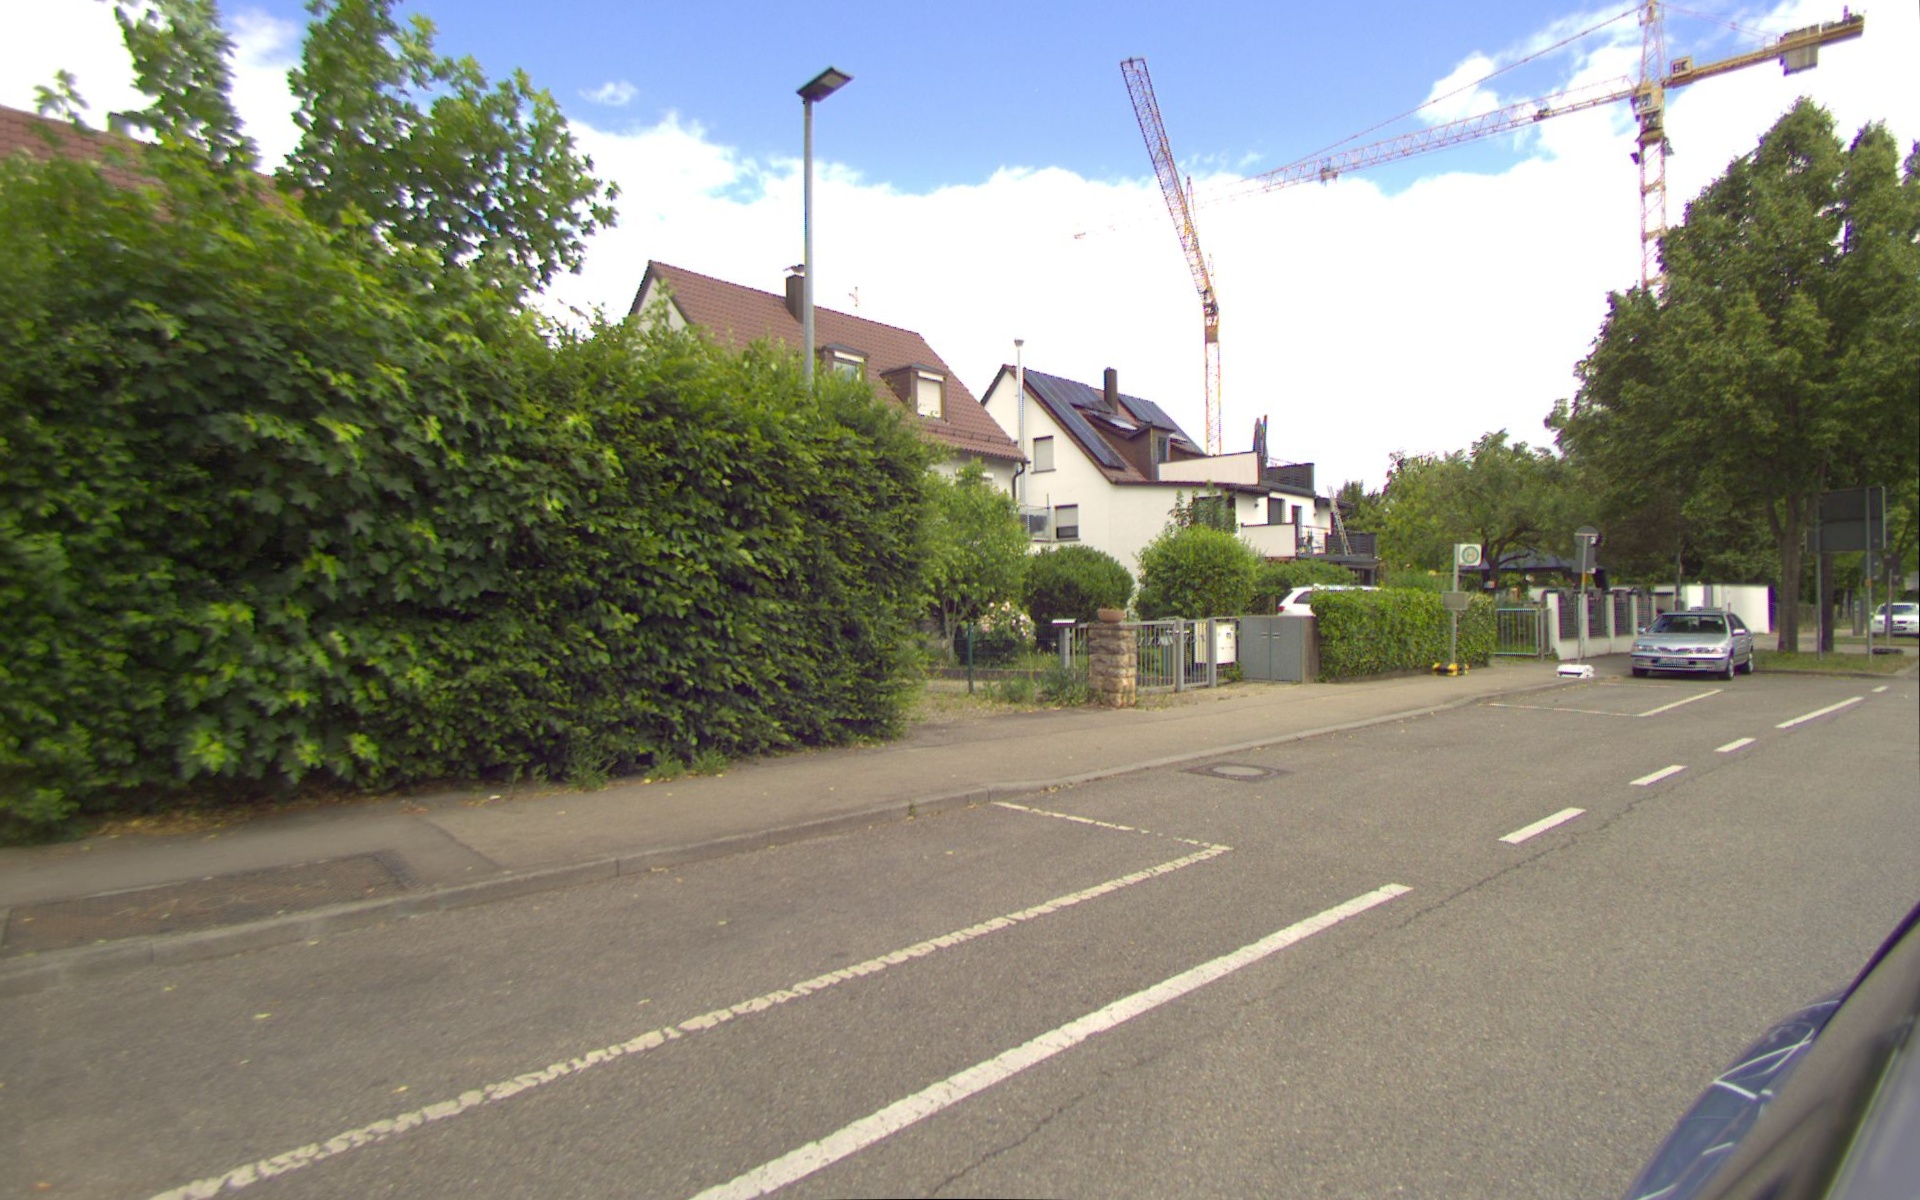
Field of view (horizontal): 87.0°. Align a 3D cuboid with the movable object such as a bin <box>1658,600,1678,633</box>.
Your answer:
[{"bbox_3d":[23.050,0.531,32.940,0.447,1.035,0.437,0,-1,-42],"label":"movable object such as a bin"}]

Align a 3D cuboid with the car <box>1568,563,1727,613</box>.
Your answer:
[{"bbox_3d":[28.047,-0.454,41.398,5.176,1.927,2.019,-1,0,40],"label":"car"}]

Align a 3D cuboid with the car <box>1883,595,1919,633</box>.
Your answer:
[{"bbox_3d":[43.328,0.595,45.851,4.048,1.663,1.902,-1,0,-43],"label":"car"}]

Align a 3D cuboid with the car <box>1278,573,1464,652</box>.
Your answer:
[{"bbox_3d":[10.430,0.303,25.847,1.968,1.846,3.988,0,0,-45],"label":"car"}]

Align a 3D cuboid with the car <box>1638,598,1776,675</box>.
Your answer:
[{"bbox_3d":[16.073,0.712,21.689,4.314,1.394,1.613,-2,1,-43],"label":"car"}]
